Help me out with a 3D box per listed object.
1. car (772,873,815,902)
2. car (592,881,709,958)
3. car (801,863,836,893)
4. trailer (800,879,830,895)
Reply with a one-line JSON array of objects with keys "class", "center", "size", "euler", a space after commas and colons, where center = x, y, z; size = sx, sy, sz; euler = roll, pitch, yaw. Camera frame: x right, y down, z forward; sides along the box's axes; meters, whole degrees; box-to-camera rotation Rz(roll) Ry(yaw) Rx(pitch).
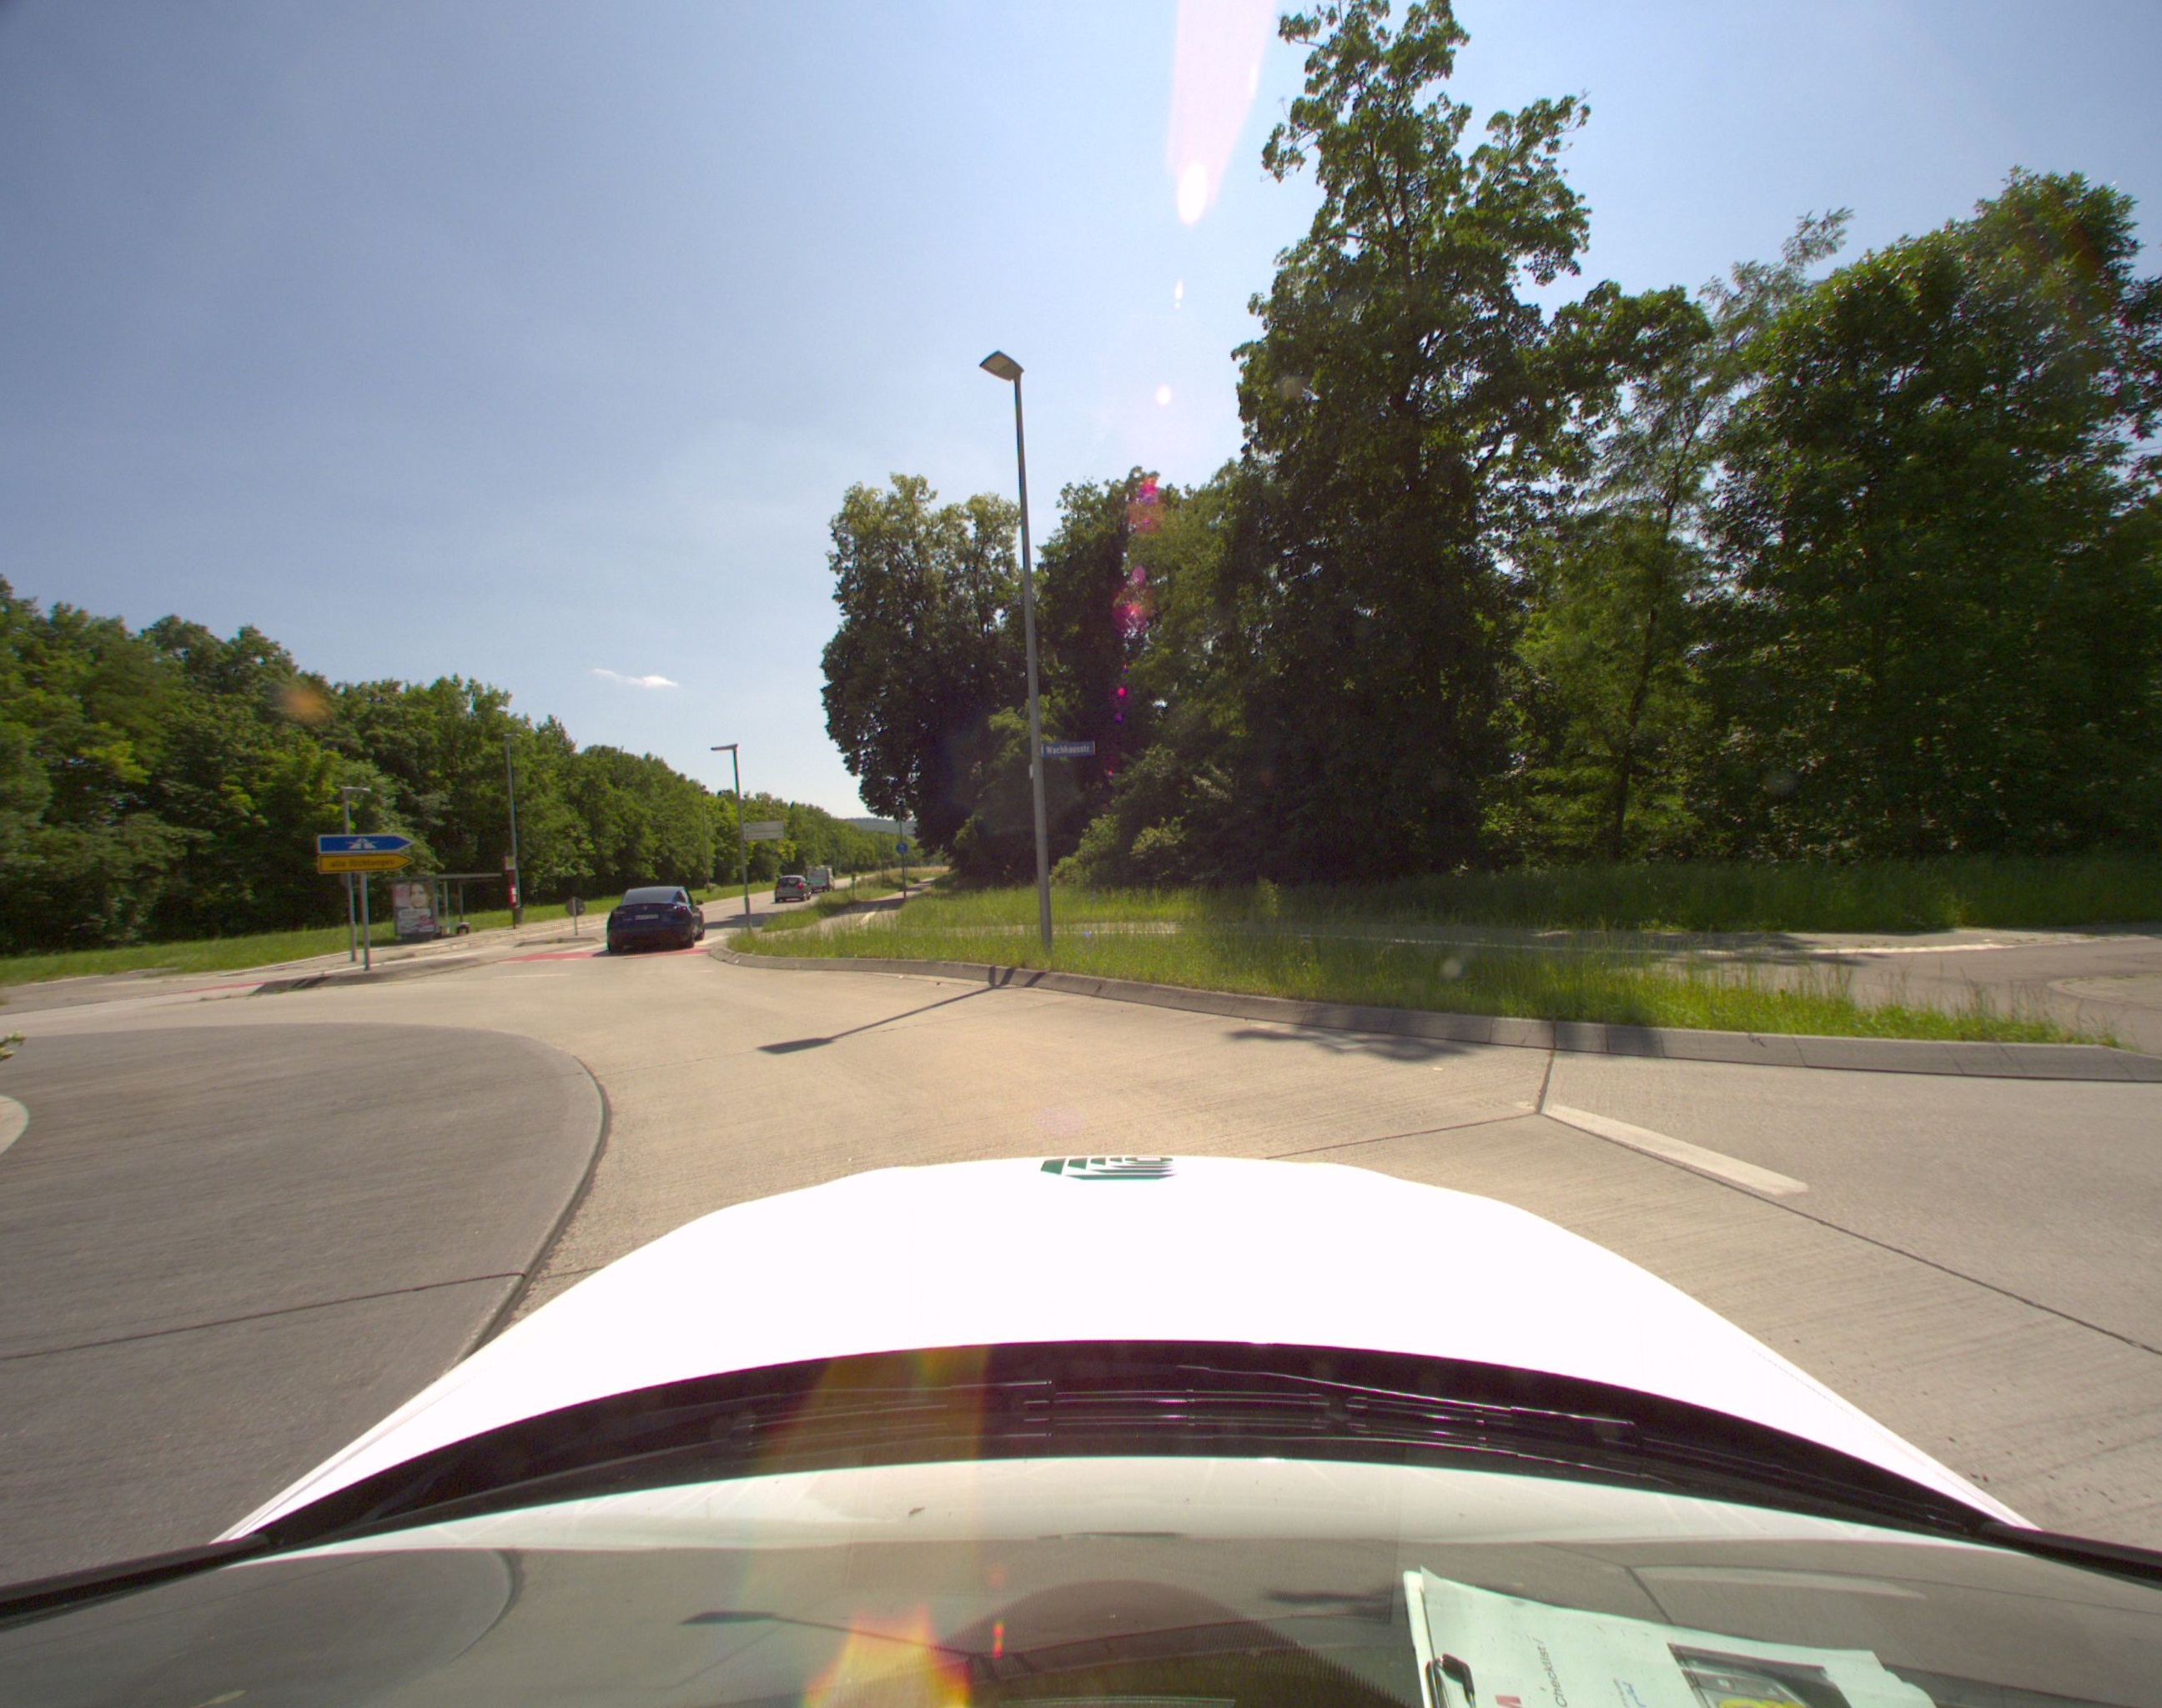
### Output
[{"class": "car", "center": [-17.812, 2.063, 50.543], "size": [1.785, 1.607, 4.113], "euler": [-3, -1, -10]}, {"class": "car", "center": [-11.324, 1.638, 21.768], "size": [2.000, 1.639, 4.725], "euler": [-3, 0, -20]}, {"class": "car", "center": [-21.761, 1.989, 67.699], "size": [2.168, 2.316, 4.959], "euler": [-3, -1, -12]}, {"class": "trailer", "center": [-20.783, 2.536, 63.637], "size": [2.127, 1.097, 3.335], "euler": [-3, -1, -17]}]
